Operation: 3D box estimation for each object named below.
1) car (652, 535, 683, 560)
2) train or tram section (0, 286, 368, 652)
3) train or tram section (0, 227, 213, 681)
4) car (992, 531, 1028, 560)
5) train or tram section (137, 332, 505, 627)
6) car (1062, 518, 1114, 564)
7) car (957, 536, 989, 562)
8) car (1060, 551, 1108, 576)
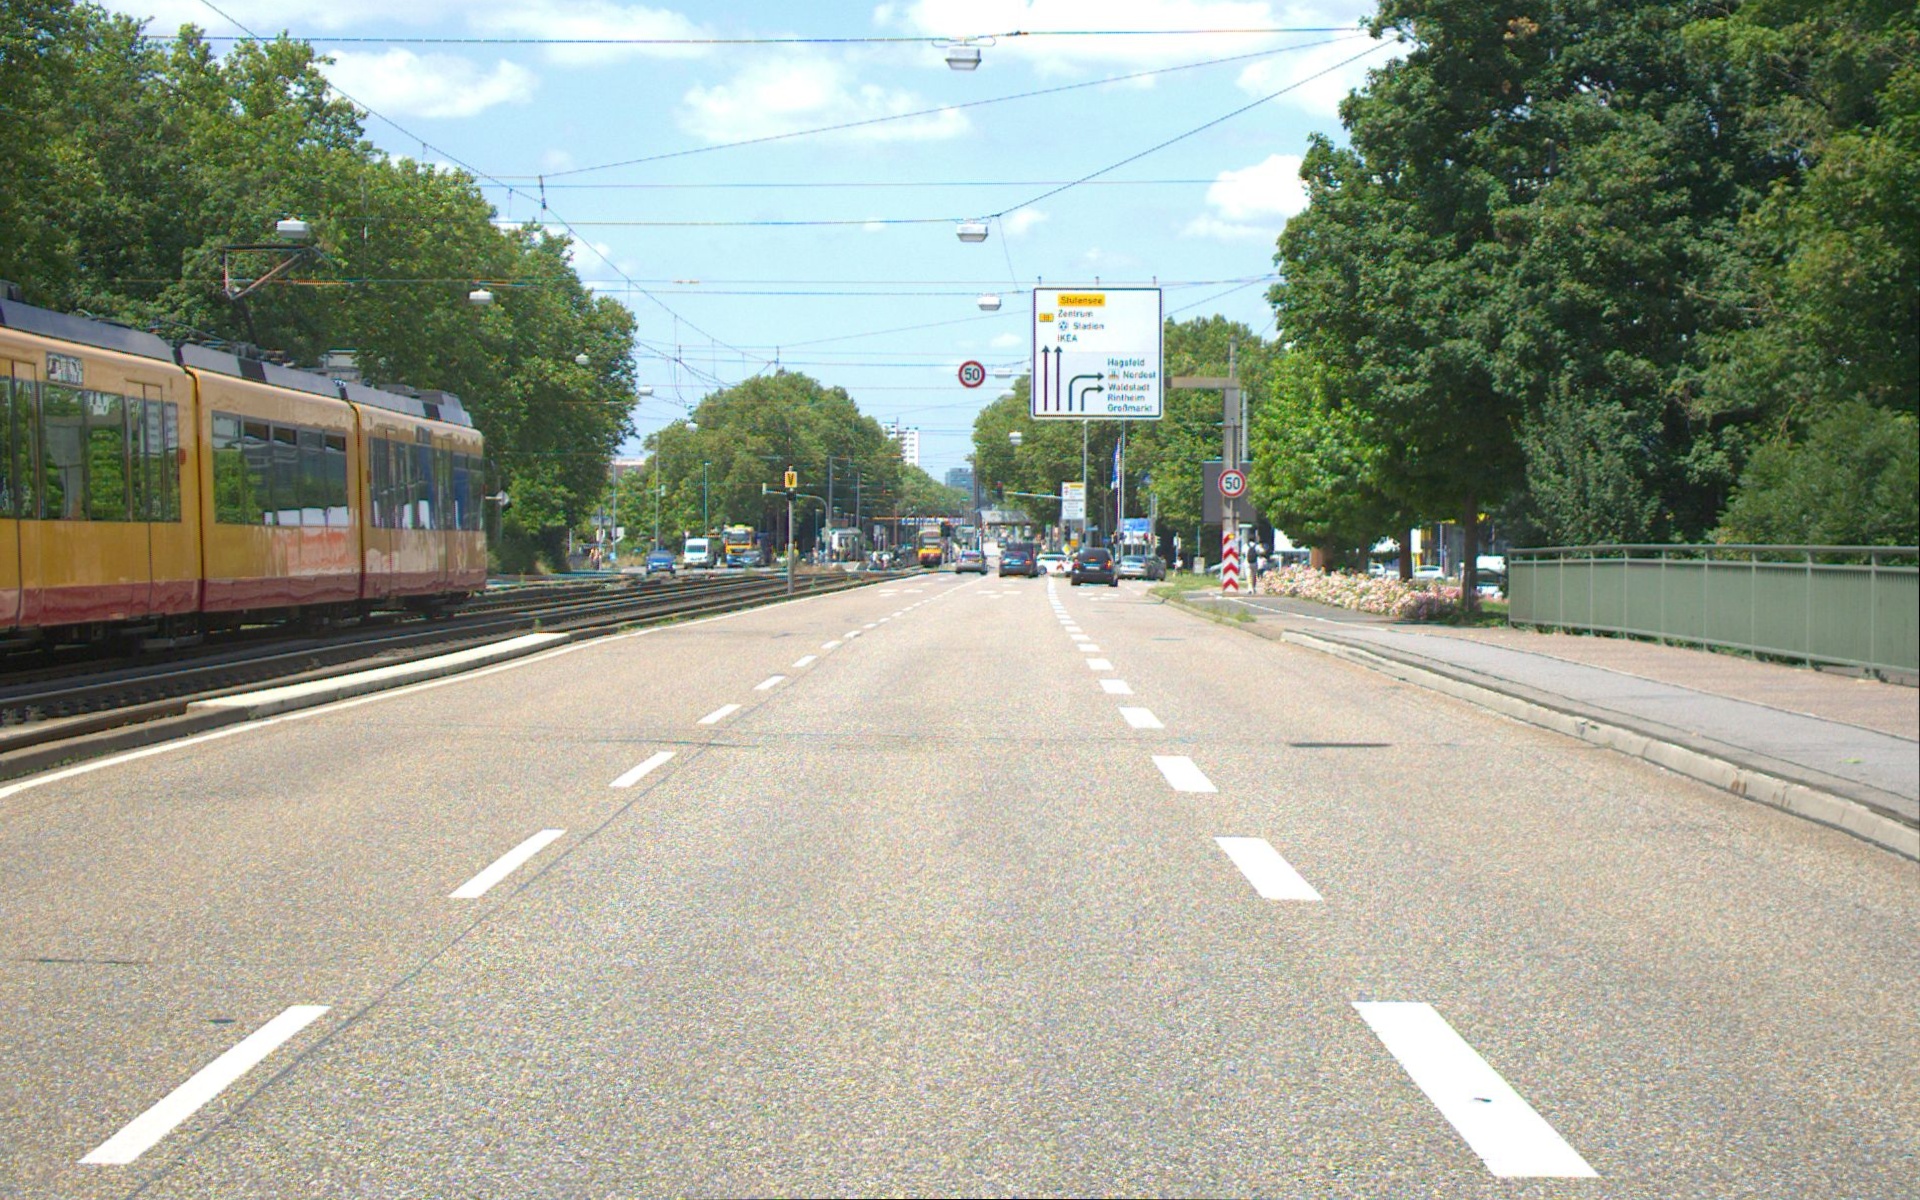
[{"bbox_3d":[-18.760,-3.355,220.914,1.644,1.545,4.217,2,1,-1],"label":"car"},{"bbox_3d":[-10.089,-1.588,44.080,3.038,4.134,10.233,0,1,1],"label":"train or tram section"},{"bbox_3d":[-10.239,-1.360,32.909,3.038,4.140,13.483,0,1,1],"label":"train or tram section"},{"bbox_3d":[2.719,-2.994,188.318,1.876,1.534,3.777,2,1,0],"label":"car"},{"bbox_3d":[-9.892,-1.839,55.199,3.038,4.126,13.982,0,1,1],"label":"train or tram section"},{"bbox_3d":[5.251,-2.429,141.492,1.899,1.799,3.977,2,1,0],"label":"car"},{"bbox_3d":[0.815,-3.196,216.743,1.842,1.544,3.777,2,1,-1],"label":"car"},{"bbox_3d":[7.959,-2.328,219.905,1.687,1.544,3.979,3,1,24],"label":"car"}]
